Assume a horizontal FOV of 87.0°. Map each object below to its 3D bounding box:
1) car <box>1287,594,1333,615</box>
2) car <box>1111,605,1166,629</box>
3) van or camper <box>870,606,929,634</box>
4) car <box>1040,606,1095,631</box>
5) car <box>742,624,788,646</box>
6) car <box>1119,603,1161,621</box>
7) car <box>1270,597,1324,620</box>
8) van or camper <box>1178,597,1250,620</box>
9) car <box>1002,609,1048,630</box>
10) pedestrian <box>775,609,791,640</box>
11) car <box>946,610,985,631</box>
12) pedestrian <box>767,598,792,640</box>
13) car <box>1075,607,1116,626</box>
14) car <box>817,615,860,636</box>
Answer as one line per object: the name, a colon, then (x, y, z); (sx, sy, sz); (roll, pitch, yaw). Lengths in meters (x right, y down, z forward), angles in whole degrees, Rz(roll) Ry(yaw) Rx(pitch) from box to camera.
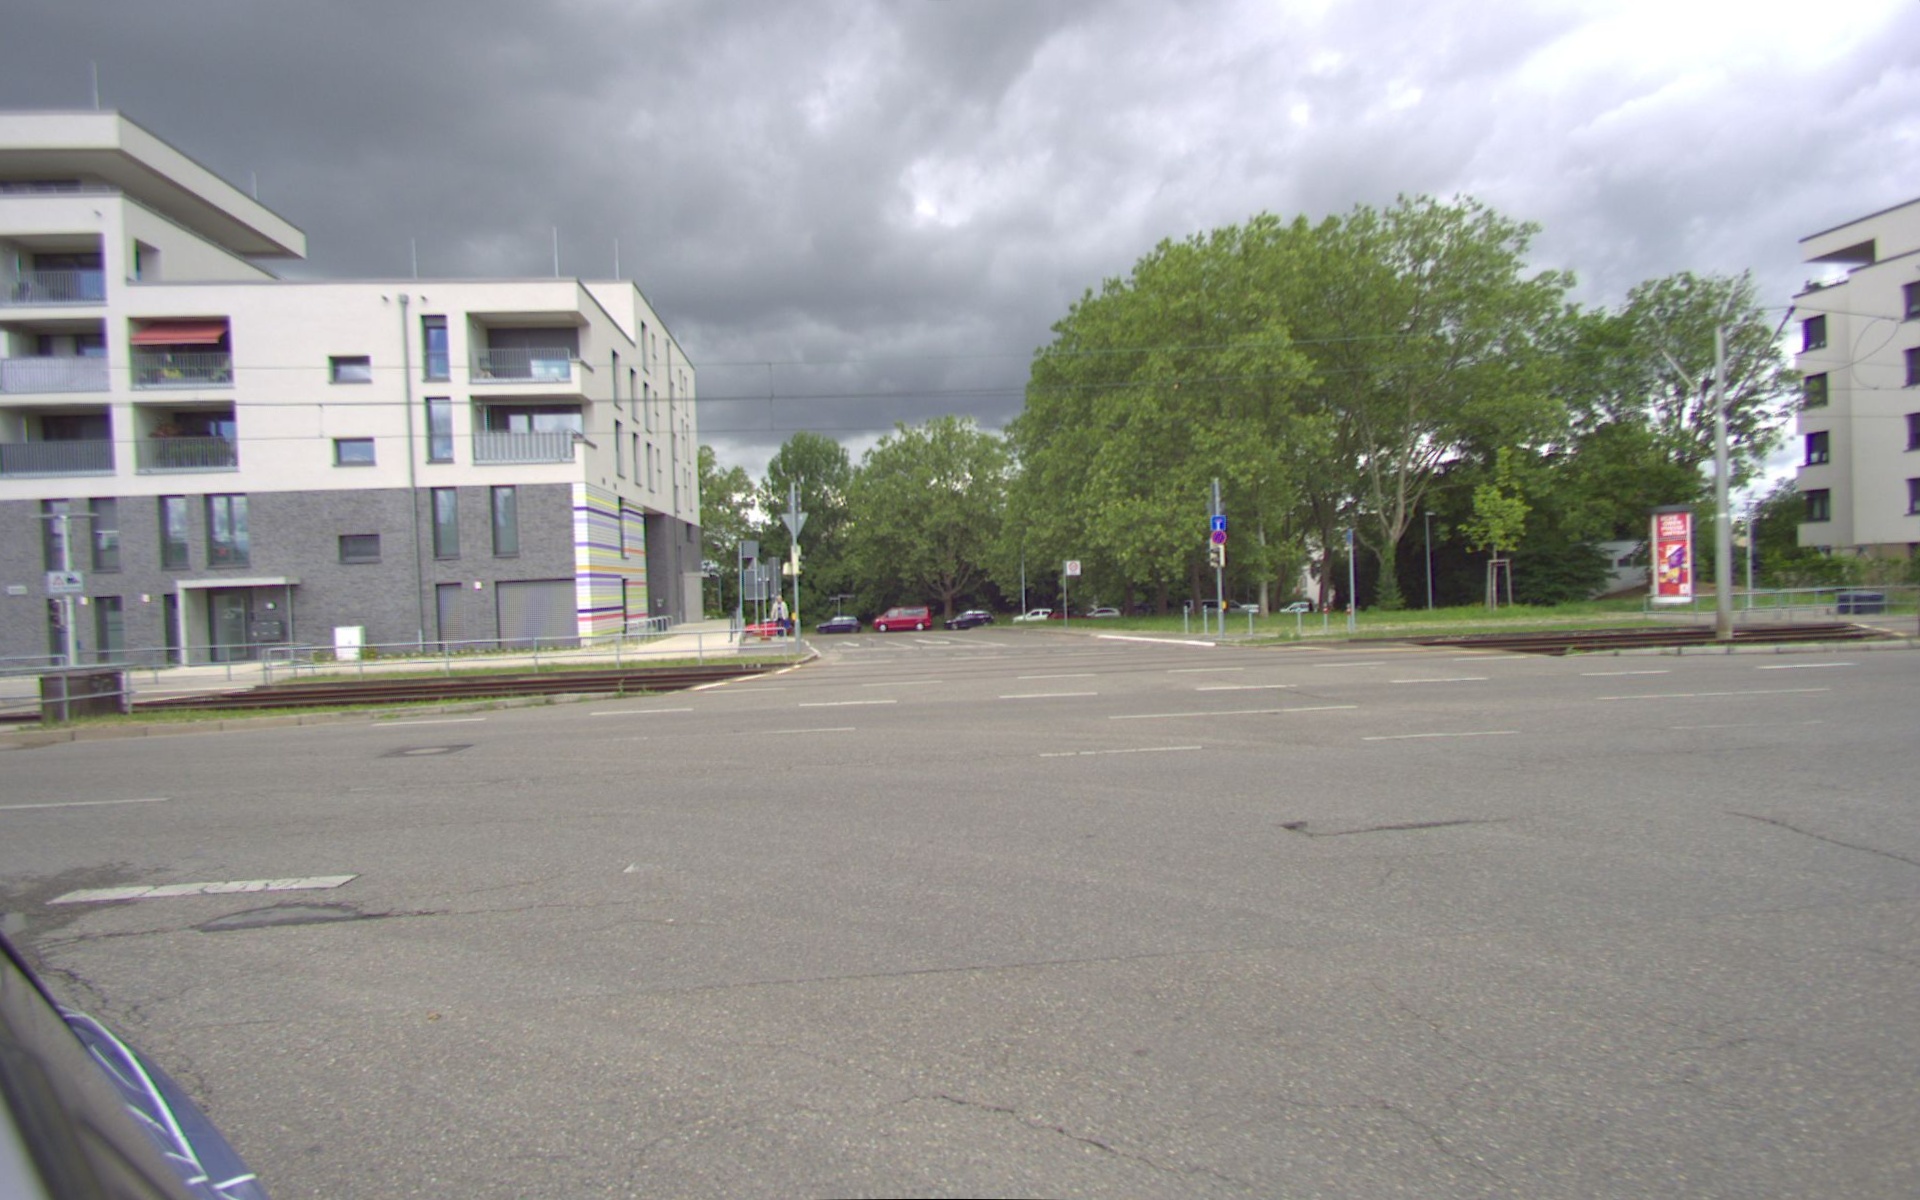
car: (30.817, 0.399, 89.244); (3.752, 1.742, 1.656); (-1, 0, 17)
car: (13.458, 1.238, 76.280); (3.726, 1.674, 1.667); (-1, 0, -7)
van or camper: (-4.839, 1.588, 81.459); (4.498, 2.040, 2.047); (-2, 0, 1)
car: (7.985, 1.368, 75.424); (3.727, 1.674, 1.667); (-1, 0, -5)
car: (-15.601, 2.783, 81.099); (3.489, 1.510, 1.649); (-2, 0, -5)
car: (16.853, 1.103, 94.760); (3.446, 1.577, 1.643); (-1, 0, 40)
car: (27.726, 0.690, 83.290); (3.749, 1.661, 1.704); (-3, 0, -9)
van or camper: (19.324, 0.665, 77.180); (4.931, 1.545, 1.866); (-2, 0, -5)
car: (5.235, 1.564, 81.861); (3.547, 1.548, 1.873); (-2, 0, 1)
pedestrian: (-11.677, 1.607, 66.870); (0.925, 2.029, 1.118); (-2, 0, -6)
car: (0.460, 1.643, 81.376); (3.097, 1.513, 1.604); (-2, 0, 1)
pedestrian: (-7.397, 0.771, 41.545); (0.976, 1.682, 0.857); (-1, 0, -8)
car: (10.990, 1.313, 82.010); (3.097, 1.354, 1.447); (-2, 0, 1)
car: (-9.718, 2.061, 81.305); (3.225, 1.513, 1.604); (-2, 0, 1)
